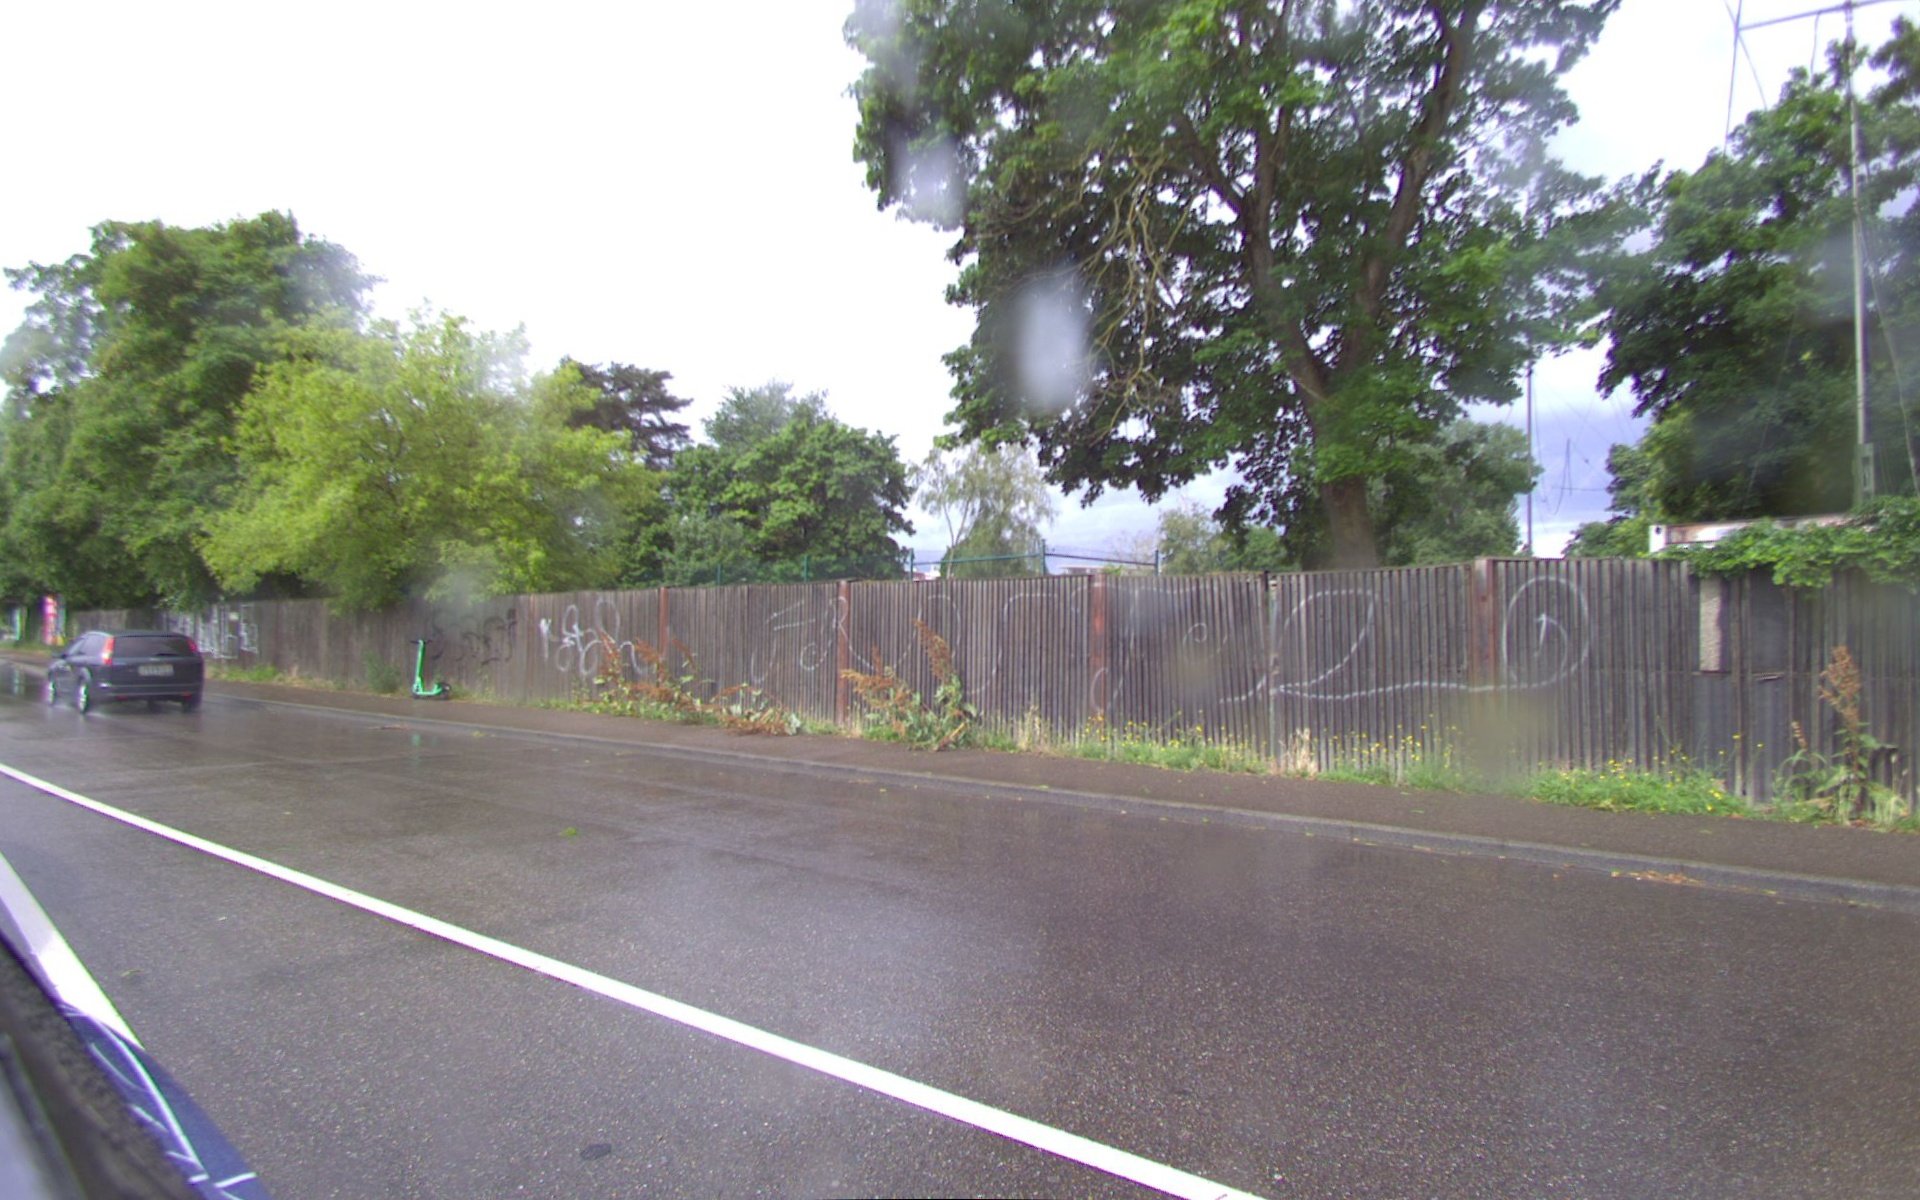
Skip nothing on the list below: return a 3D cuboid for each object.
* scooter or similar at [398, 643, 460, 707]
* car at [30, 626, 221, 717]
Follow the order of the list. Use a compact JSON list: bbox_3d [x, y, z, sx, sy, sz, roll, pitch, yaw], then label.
[{"bbox_3d":[-10.276,1.431,19.574,1.205,1.171,0.557,-1,-2,35],"label":"scooter or similar"},{"bbox_3d":[-15.853,1.268,19.169,4.171,1.494,1.857,0,-2,37],"label":"car"}]
